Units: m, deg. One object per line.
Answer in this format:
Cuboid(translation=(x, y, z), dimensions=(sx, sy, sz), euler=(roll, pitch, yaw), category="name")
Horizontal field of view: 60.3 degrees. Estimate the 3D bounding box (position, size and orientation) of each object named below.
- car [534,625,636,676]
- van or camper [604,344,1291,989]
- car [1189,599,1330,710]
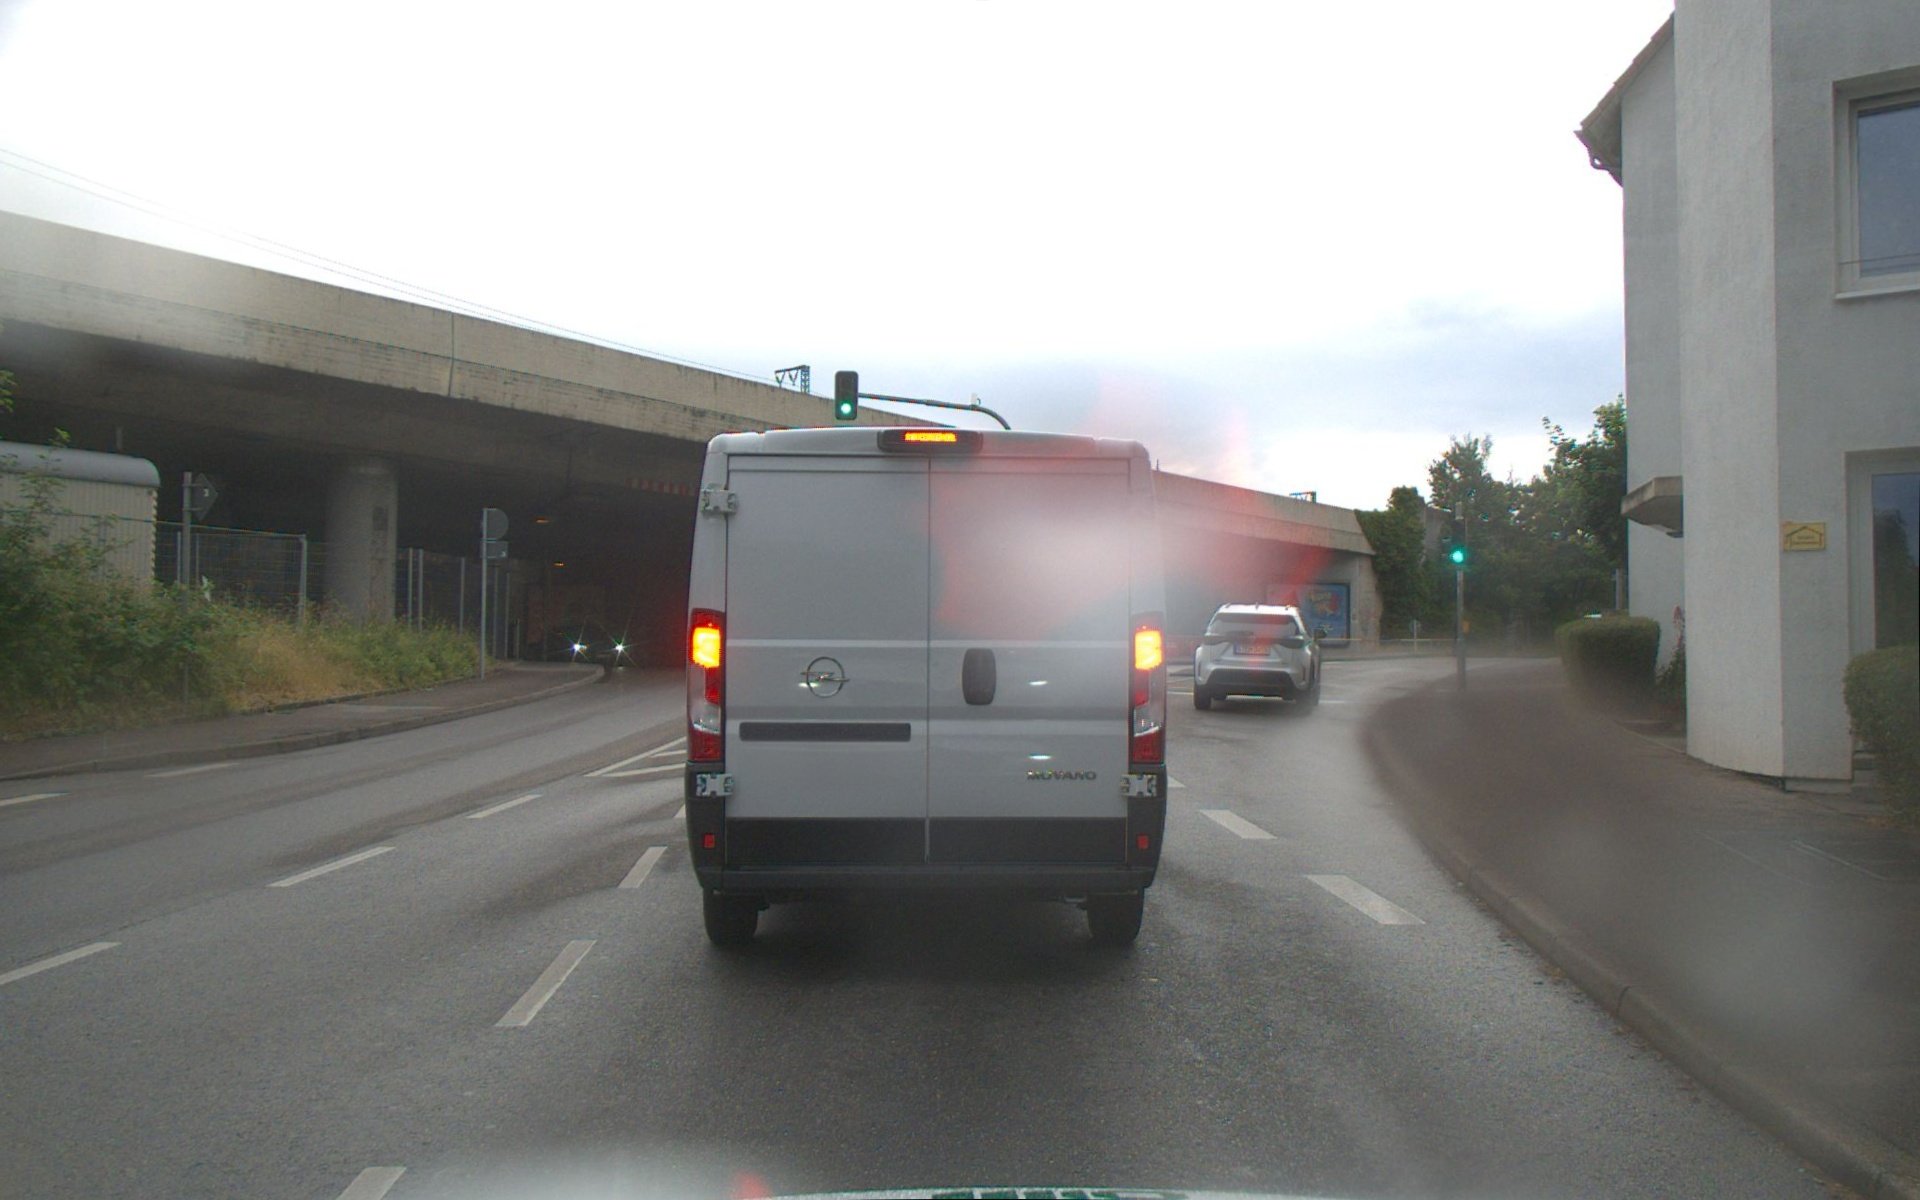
Cuboid(translation=(-12.708, 1.669, 55.807), dimensions=(1.975, 1.557, 4.449), euler=(1, 0, -33), category="car")
Cuboid(translation=(-0.148, 0.279, 8.840), dimensions=(2.644, 2.459, 4.900), euler=(0, -1, -3), category="van or camper")
Cuboid(translation=(4.694, 0.786, 25.513), dimensions=(1.835, 1.557, 4.003), euler=(0, -1, 15), category="car")
